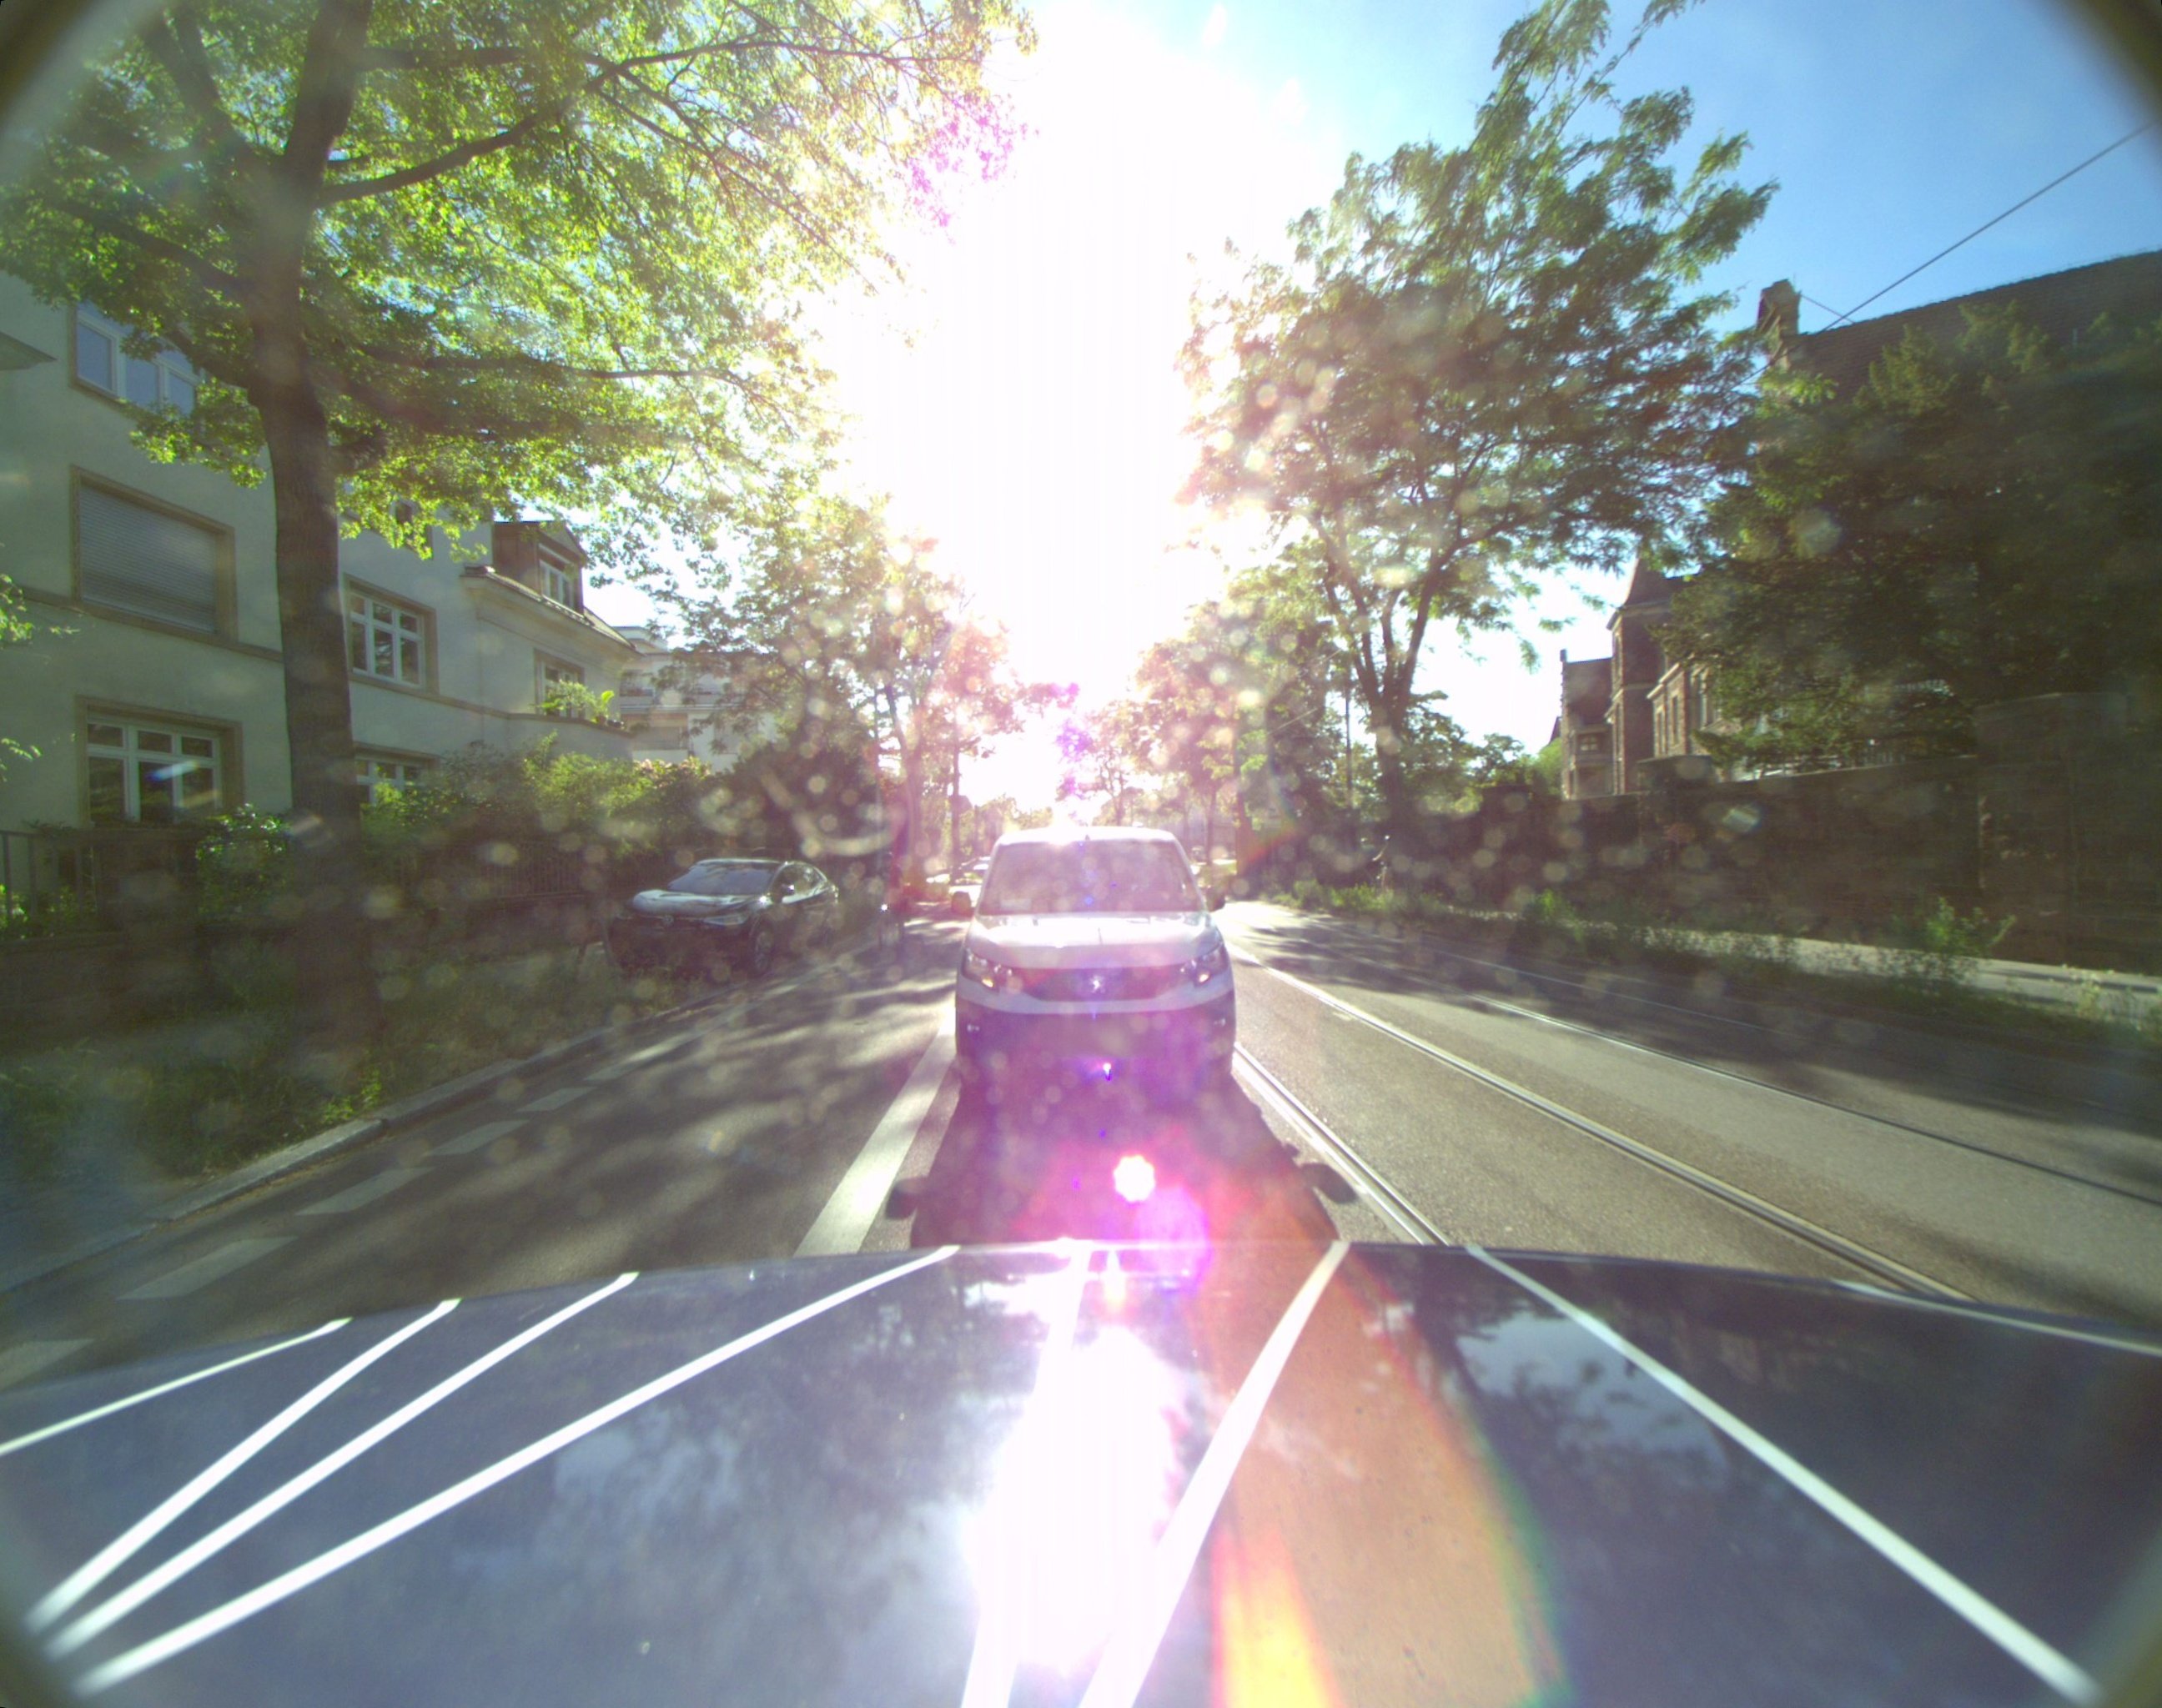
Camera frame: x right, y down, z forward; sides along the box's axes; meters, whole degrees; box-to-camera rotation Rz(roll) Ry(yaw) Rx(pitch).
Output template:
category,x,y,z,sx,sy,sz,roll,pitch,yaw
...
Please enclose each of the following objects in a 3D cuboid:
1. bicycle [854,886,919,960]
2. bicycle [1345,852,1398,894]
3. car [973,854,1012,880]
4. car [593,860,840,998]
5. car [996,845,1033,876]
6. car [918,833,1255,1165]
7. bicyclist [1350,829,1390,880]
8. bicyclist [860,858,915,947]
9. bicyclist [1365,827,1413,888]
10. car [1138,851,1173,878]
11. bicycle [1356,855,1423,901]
category,x,y,z,sx,sy,sz,roll,pitch,yaw
bicycle,-3.411,1.181,13.480,0.644,1.137,1.815,-1,0,1
bicycle,8.535,0.536,22.384,0.686,1.083,1.853,-1,4,-6
car,-5.251,0.752,45.464,1.787,1.443,4.000,-2,0,1
car,-5.165,0.945,11.456,1.743,1.597,4.091,2,0,-1
car,-4.500,0.430,51.930,1.998,2.002,4.583,-2,0,1
car,0.049,0.785,6.537,1.793,1.770,4.786,-2,0,0
bicyclist,8.515,0.023,22.421,0.655,1.451,1.151,-2,1,-6
bicyclist,-3.415,0.829,13.480,0.623,1.479,1.115,-2,1,1
bicyclist,7.712,0.086,19.091,0.655,1.451,1.151,-2,1,-4
car,4.624,0.613,47.632,1.822,1.597,4.359,-2,0,2
bicycle,7.722,0.574,19.113,0.686,1.082,2.063,-2,0,-4
